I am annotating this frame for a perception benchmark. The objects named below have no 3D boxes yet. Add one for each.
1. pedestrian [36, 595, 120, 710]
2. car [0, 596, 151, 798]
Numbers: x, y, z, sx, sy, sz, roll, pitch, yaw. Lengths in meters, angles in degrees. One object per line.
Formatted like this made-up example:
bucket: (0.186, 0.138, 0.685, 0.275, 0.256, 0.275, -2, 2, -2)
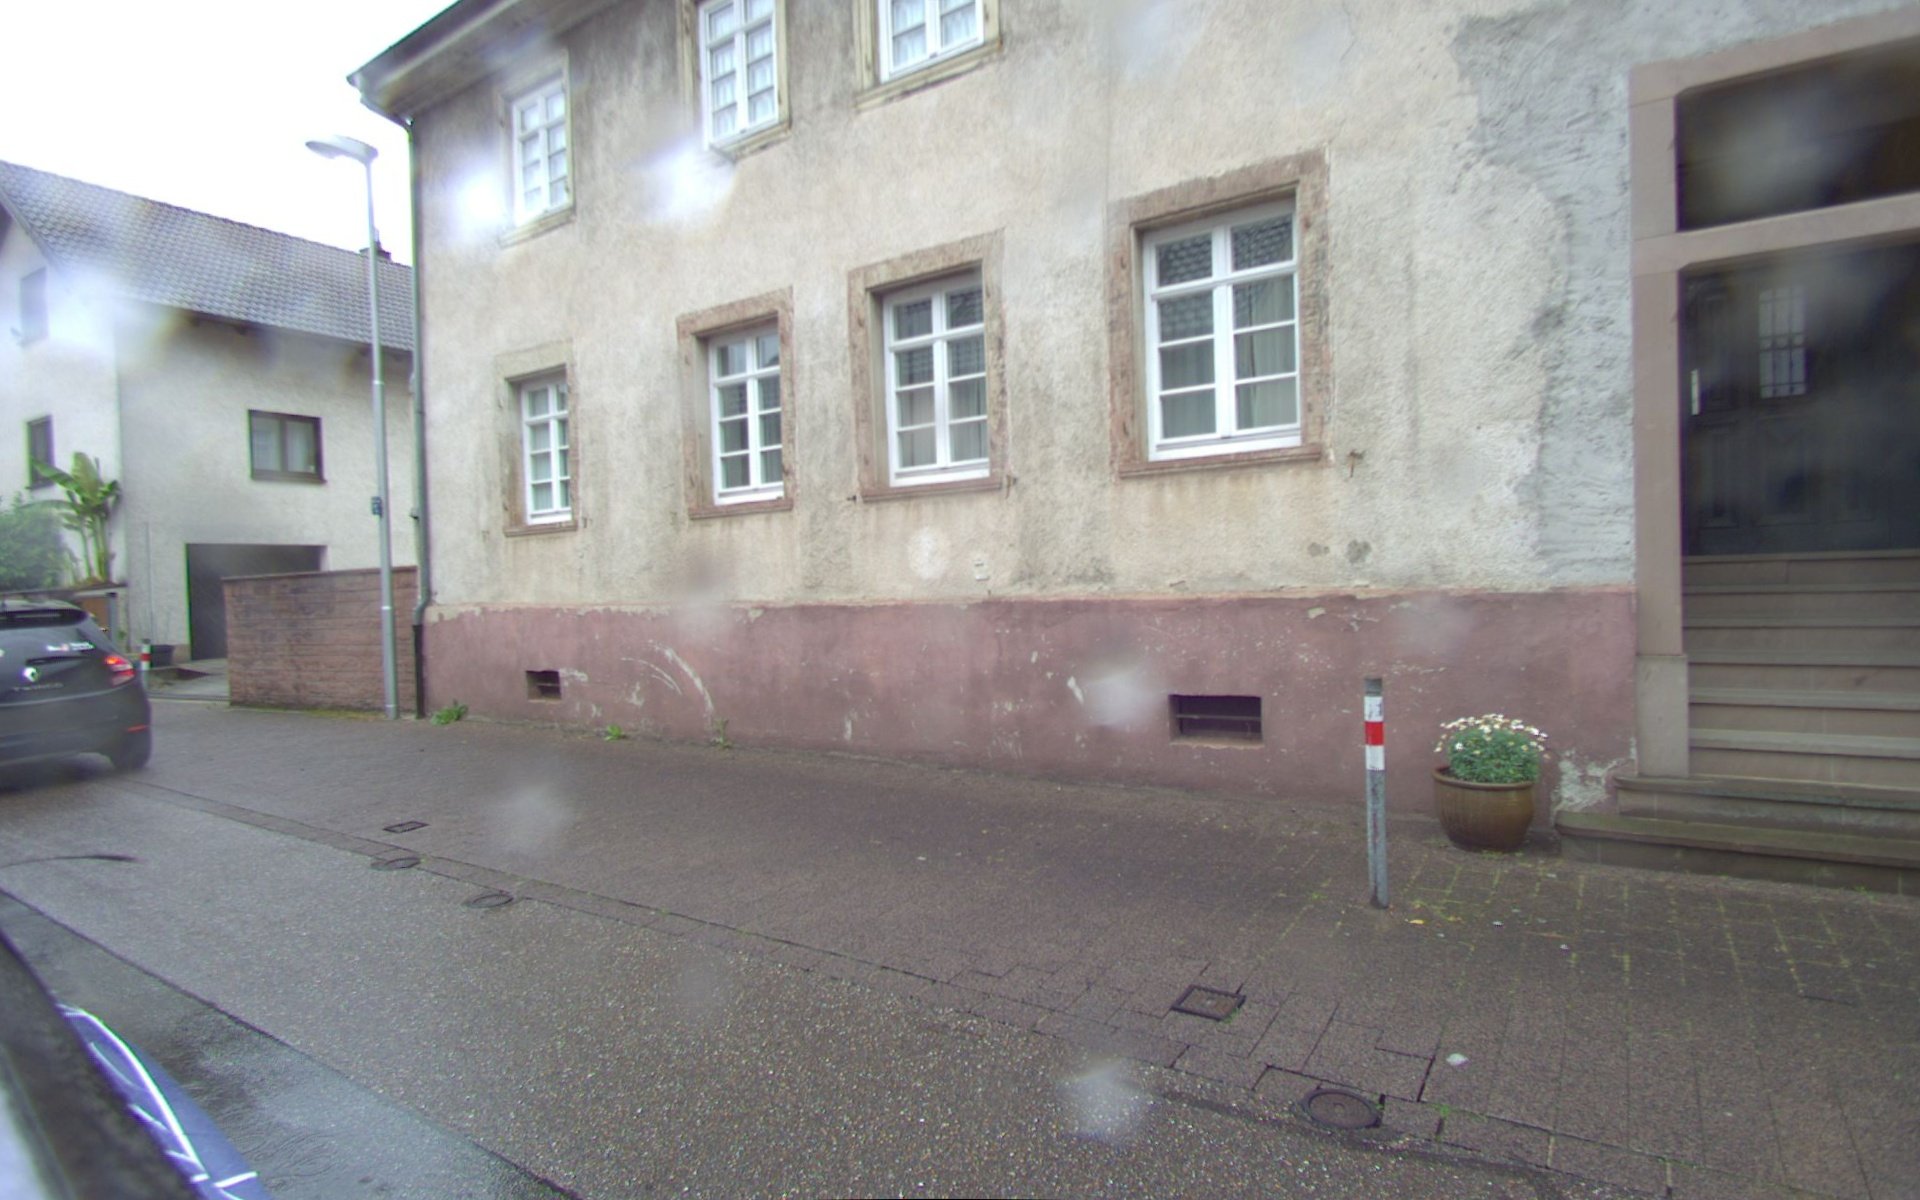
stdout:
pedestrian: (-12.499, 0.729, 14.349, 0.829, 1.549, 0.568, -1, 2, 29)
car: (-8.858, 0.782, 8.910, 3.676, 1.524, 1.592, -1, 1, 33)
